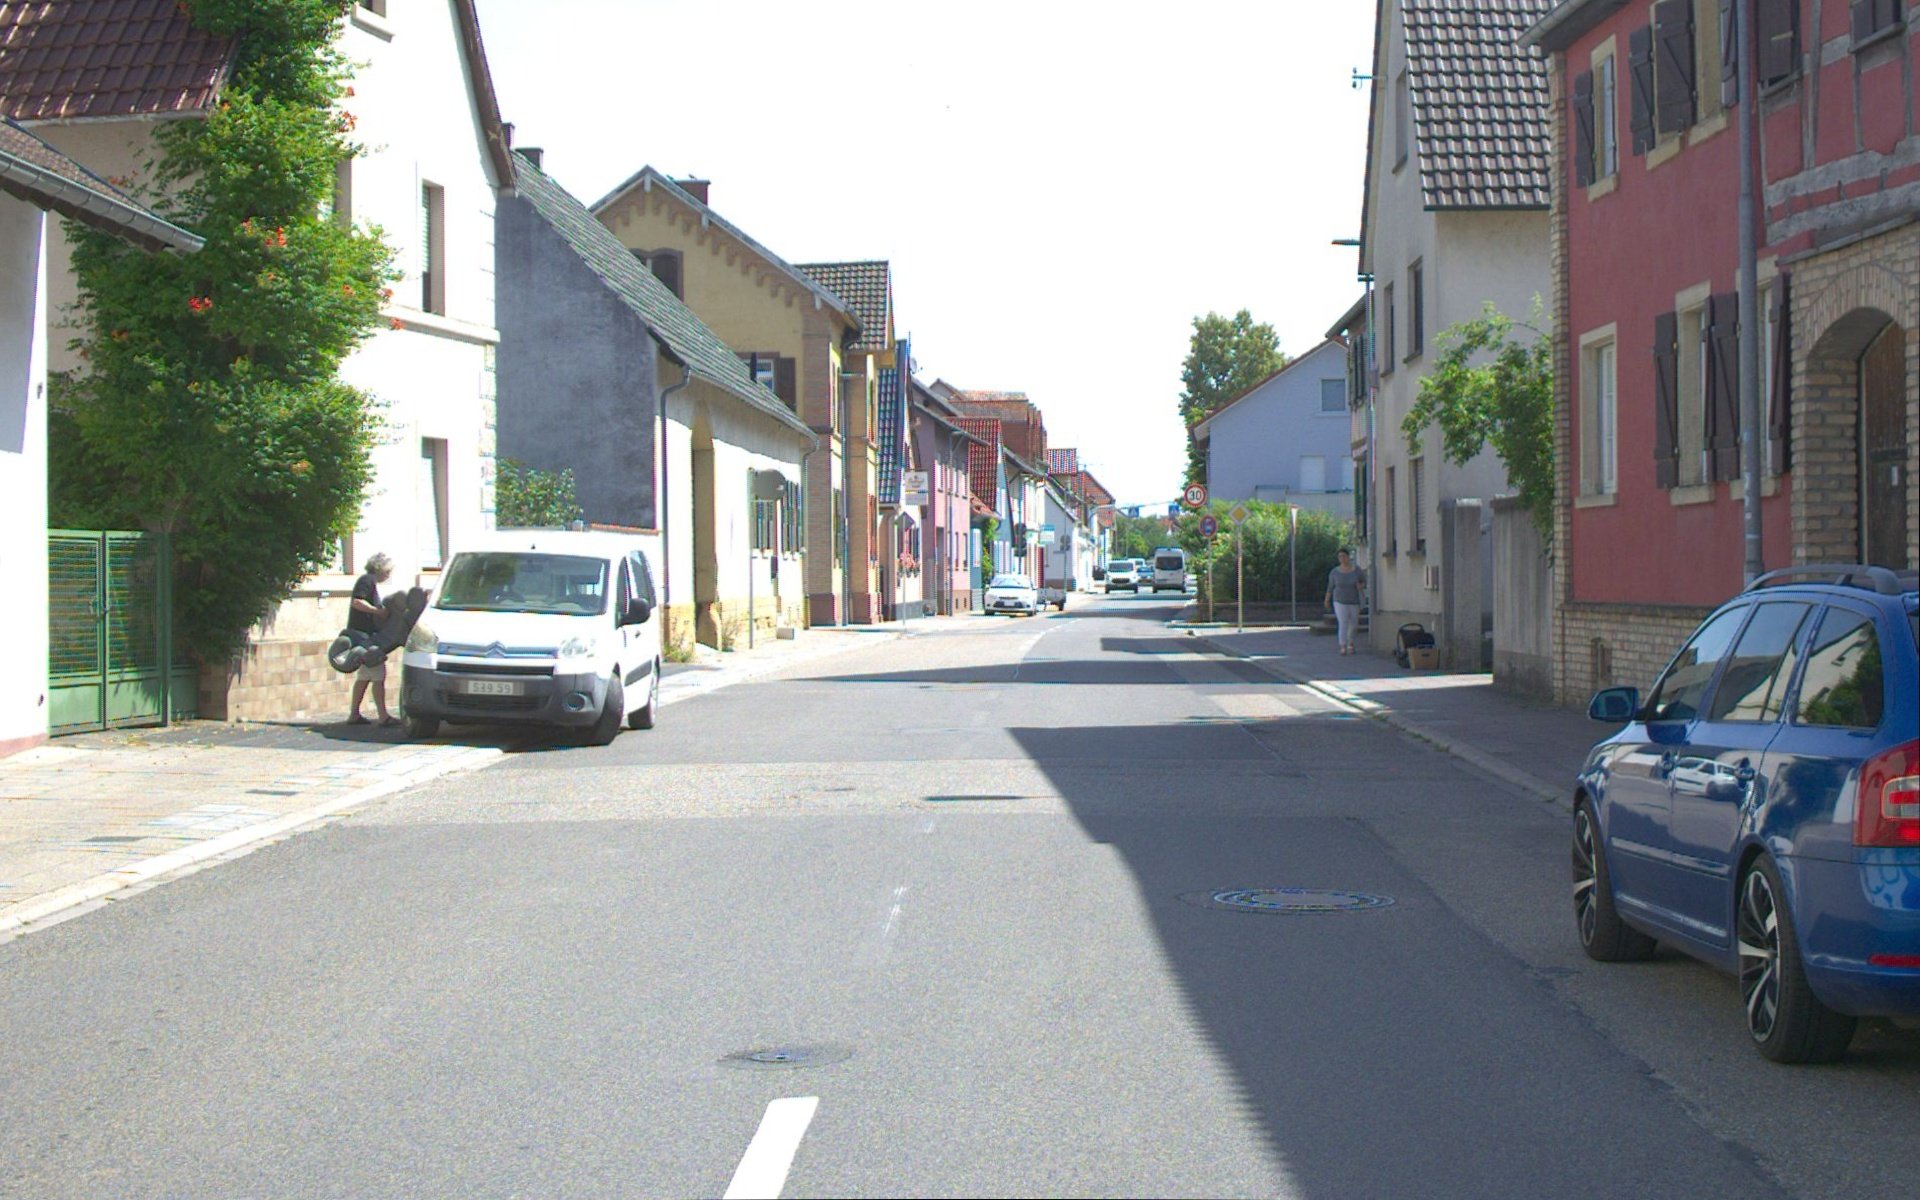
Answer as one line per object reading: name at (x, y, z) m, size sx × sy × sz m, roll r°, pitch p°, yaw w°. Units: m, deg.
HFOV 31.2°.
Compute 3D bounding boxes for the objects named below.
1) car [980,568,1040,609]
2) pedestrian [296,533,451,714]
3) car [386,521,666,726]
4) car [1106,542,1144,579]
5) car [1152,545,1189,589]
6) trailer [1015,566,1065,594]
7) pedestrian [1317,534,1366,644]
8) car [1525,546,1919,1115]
car at (1.822, -0.433, 124.379) m, size 1.994 × 1.437 × 4.000 m, roll -1°, pitch 1°, yaw 3°
pedestrian at (-5.125, 0.192, 30.023) m, size 1.136 × 1.546 × 1.017 m, roll 0°, pitch 1°, yaw -22°
car at (-3.668, 0.150, 29.748) m, size 1.855 × 1.641 × 4.430 m, roll 0°, pitch 1°, yaw 0°
car at (9.956, -2.393, 207.159) m, size 2.158 × 2.073 × 3.999 m, roll -1°, pitch -1°, yaw 2°
car at (12.504, -1.970, 204.503) m, size 2.017 × 2.559 × 4.000 m, roll -1°, pitch 0°, yaw 2°
trailer at (3.294, -0.843, 141.171) m, size 1.993 × 1.086 × 4.000 m, roll -1°, pitch 1°, yaw 1°
pedestrian at (5.774, -0.172, 52.079) m, size 0.719 × 1.658 × 0.892 m, roll 0°, pitch 1°, yaw 6°
car at (3.110, 0.565, 11.212) m, size 1.698 × 1.464 × 4.410 m, roll -2°, pitch 1°, yaw -1°
